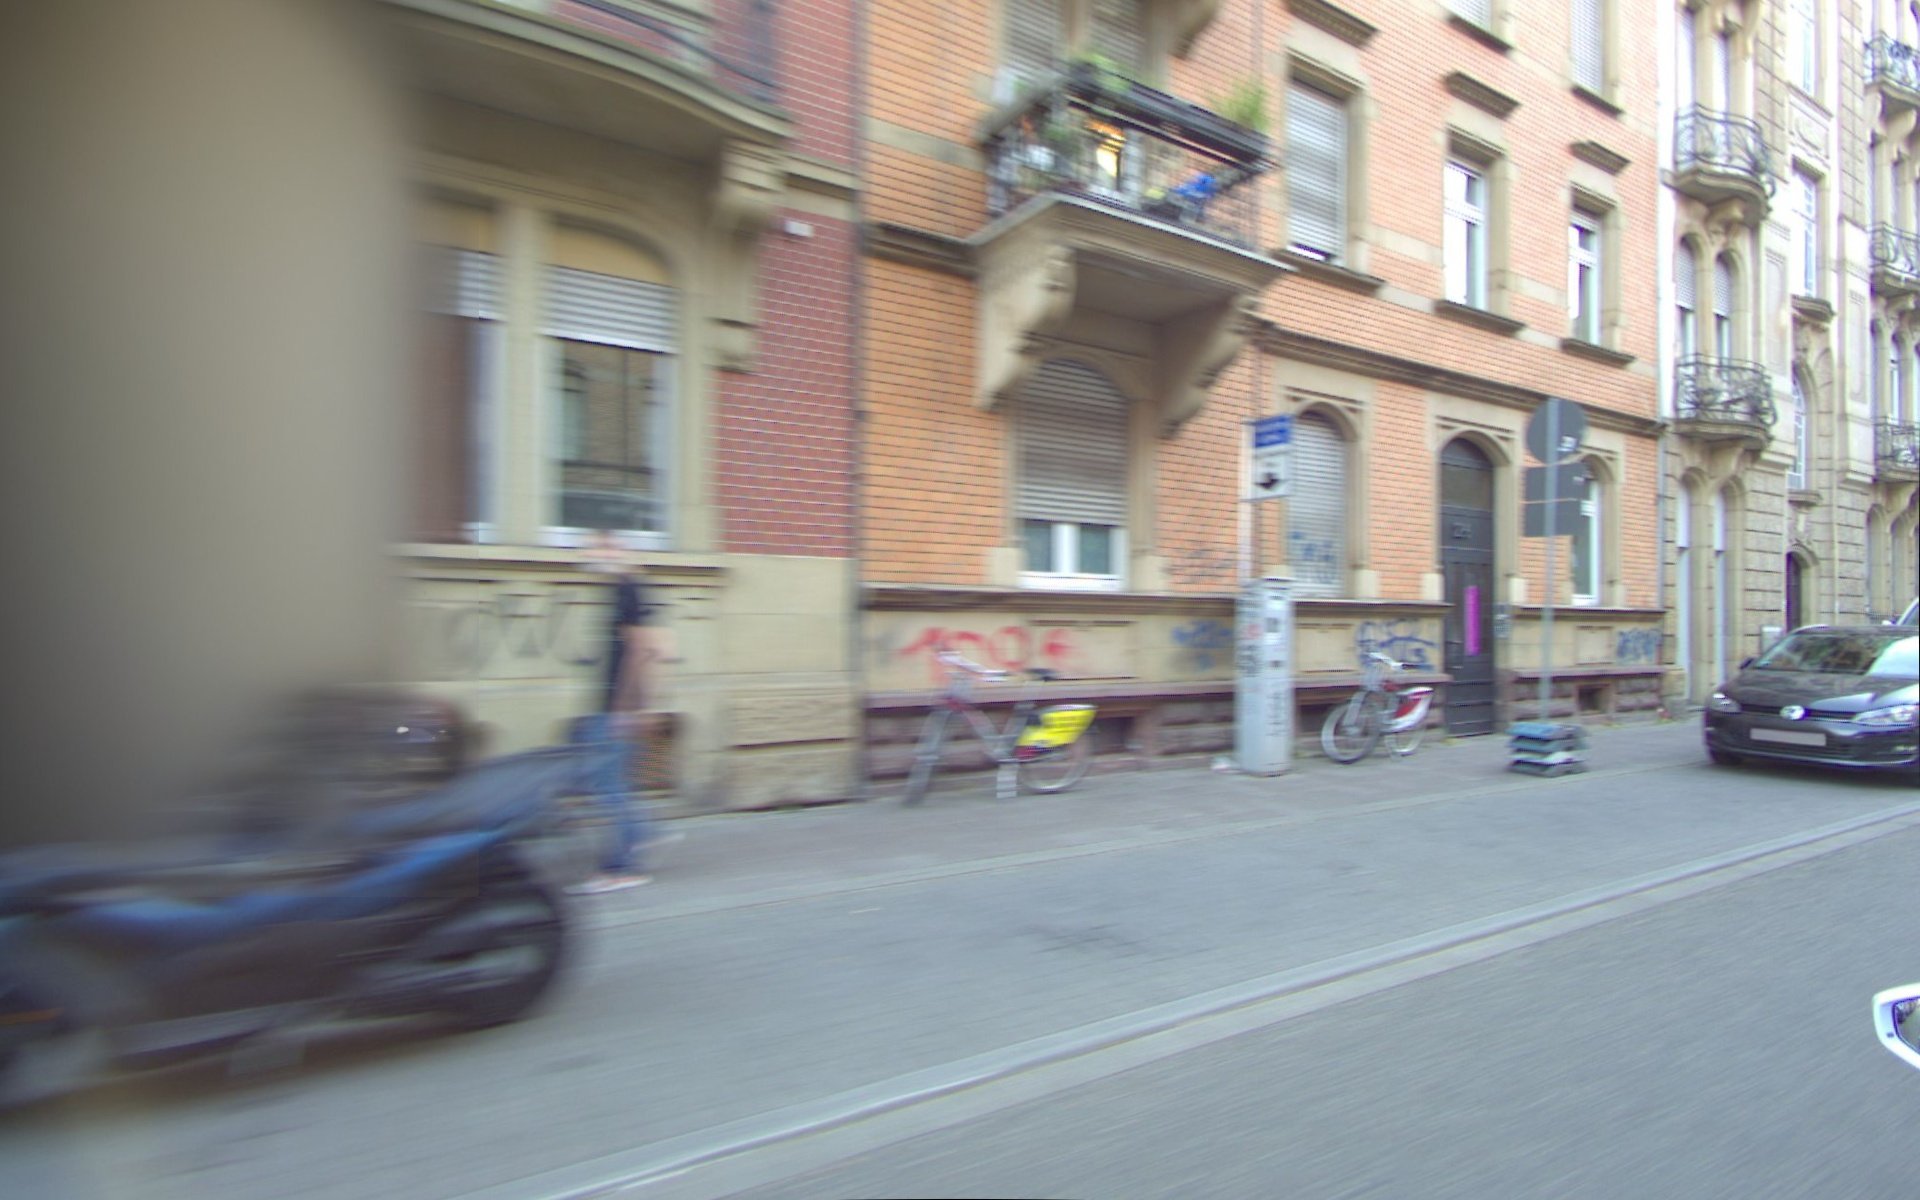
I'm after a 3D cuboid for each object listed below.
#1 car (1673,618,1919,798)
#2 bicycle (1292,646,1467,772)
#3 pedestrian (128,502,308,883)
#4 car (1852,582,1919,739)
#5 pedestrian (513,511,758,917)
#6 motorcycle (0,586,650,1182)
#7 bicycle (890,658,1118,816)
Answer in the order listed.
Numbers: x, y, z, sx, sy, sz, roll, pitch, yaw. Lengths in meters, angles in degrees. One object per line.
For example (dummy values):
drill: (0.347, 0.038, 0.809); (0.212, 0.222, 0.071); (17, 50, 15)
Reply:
car: (9.243, 0.960, 10.317); (4.130, 1.490, 1.825); (1, -1, -34)
bicycle: (4.258, 1.044, 10.131); (2.008, 1.116, 0.744); (2, 0, -39)
pedestrian: (-3.764, 0.446, 5.137); (0.634, 1.813, 0.461); (2, 0, -29)
car: (14.061, 0.795, 13.482); (4.791, 1.947, 1.827); (1, -1, -32)
pedestrian: (-1.618, 0.517, 5.120); (0.671, 1.834, 0.960); (2, 0, 25)
motorcycle: (-2.017, 0.696, 2.951); (1.990, 1.423, 0.681); (2, 0, -30)
bicycle: (0.356, 0.969, 7.474); (1.721, 1.043, 0.445); (2, 0, -31)
